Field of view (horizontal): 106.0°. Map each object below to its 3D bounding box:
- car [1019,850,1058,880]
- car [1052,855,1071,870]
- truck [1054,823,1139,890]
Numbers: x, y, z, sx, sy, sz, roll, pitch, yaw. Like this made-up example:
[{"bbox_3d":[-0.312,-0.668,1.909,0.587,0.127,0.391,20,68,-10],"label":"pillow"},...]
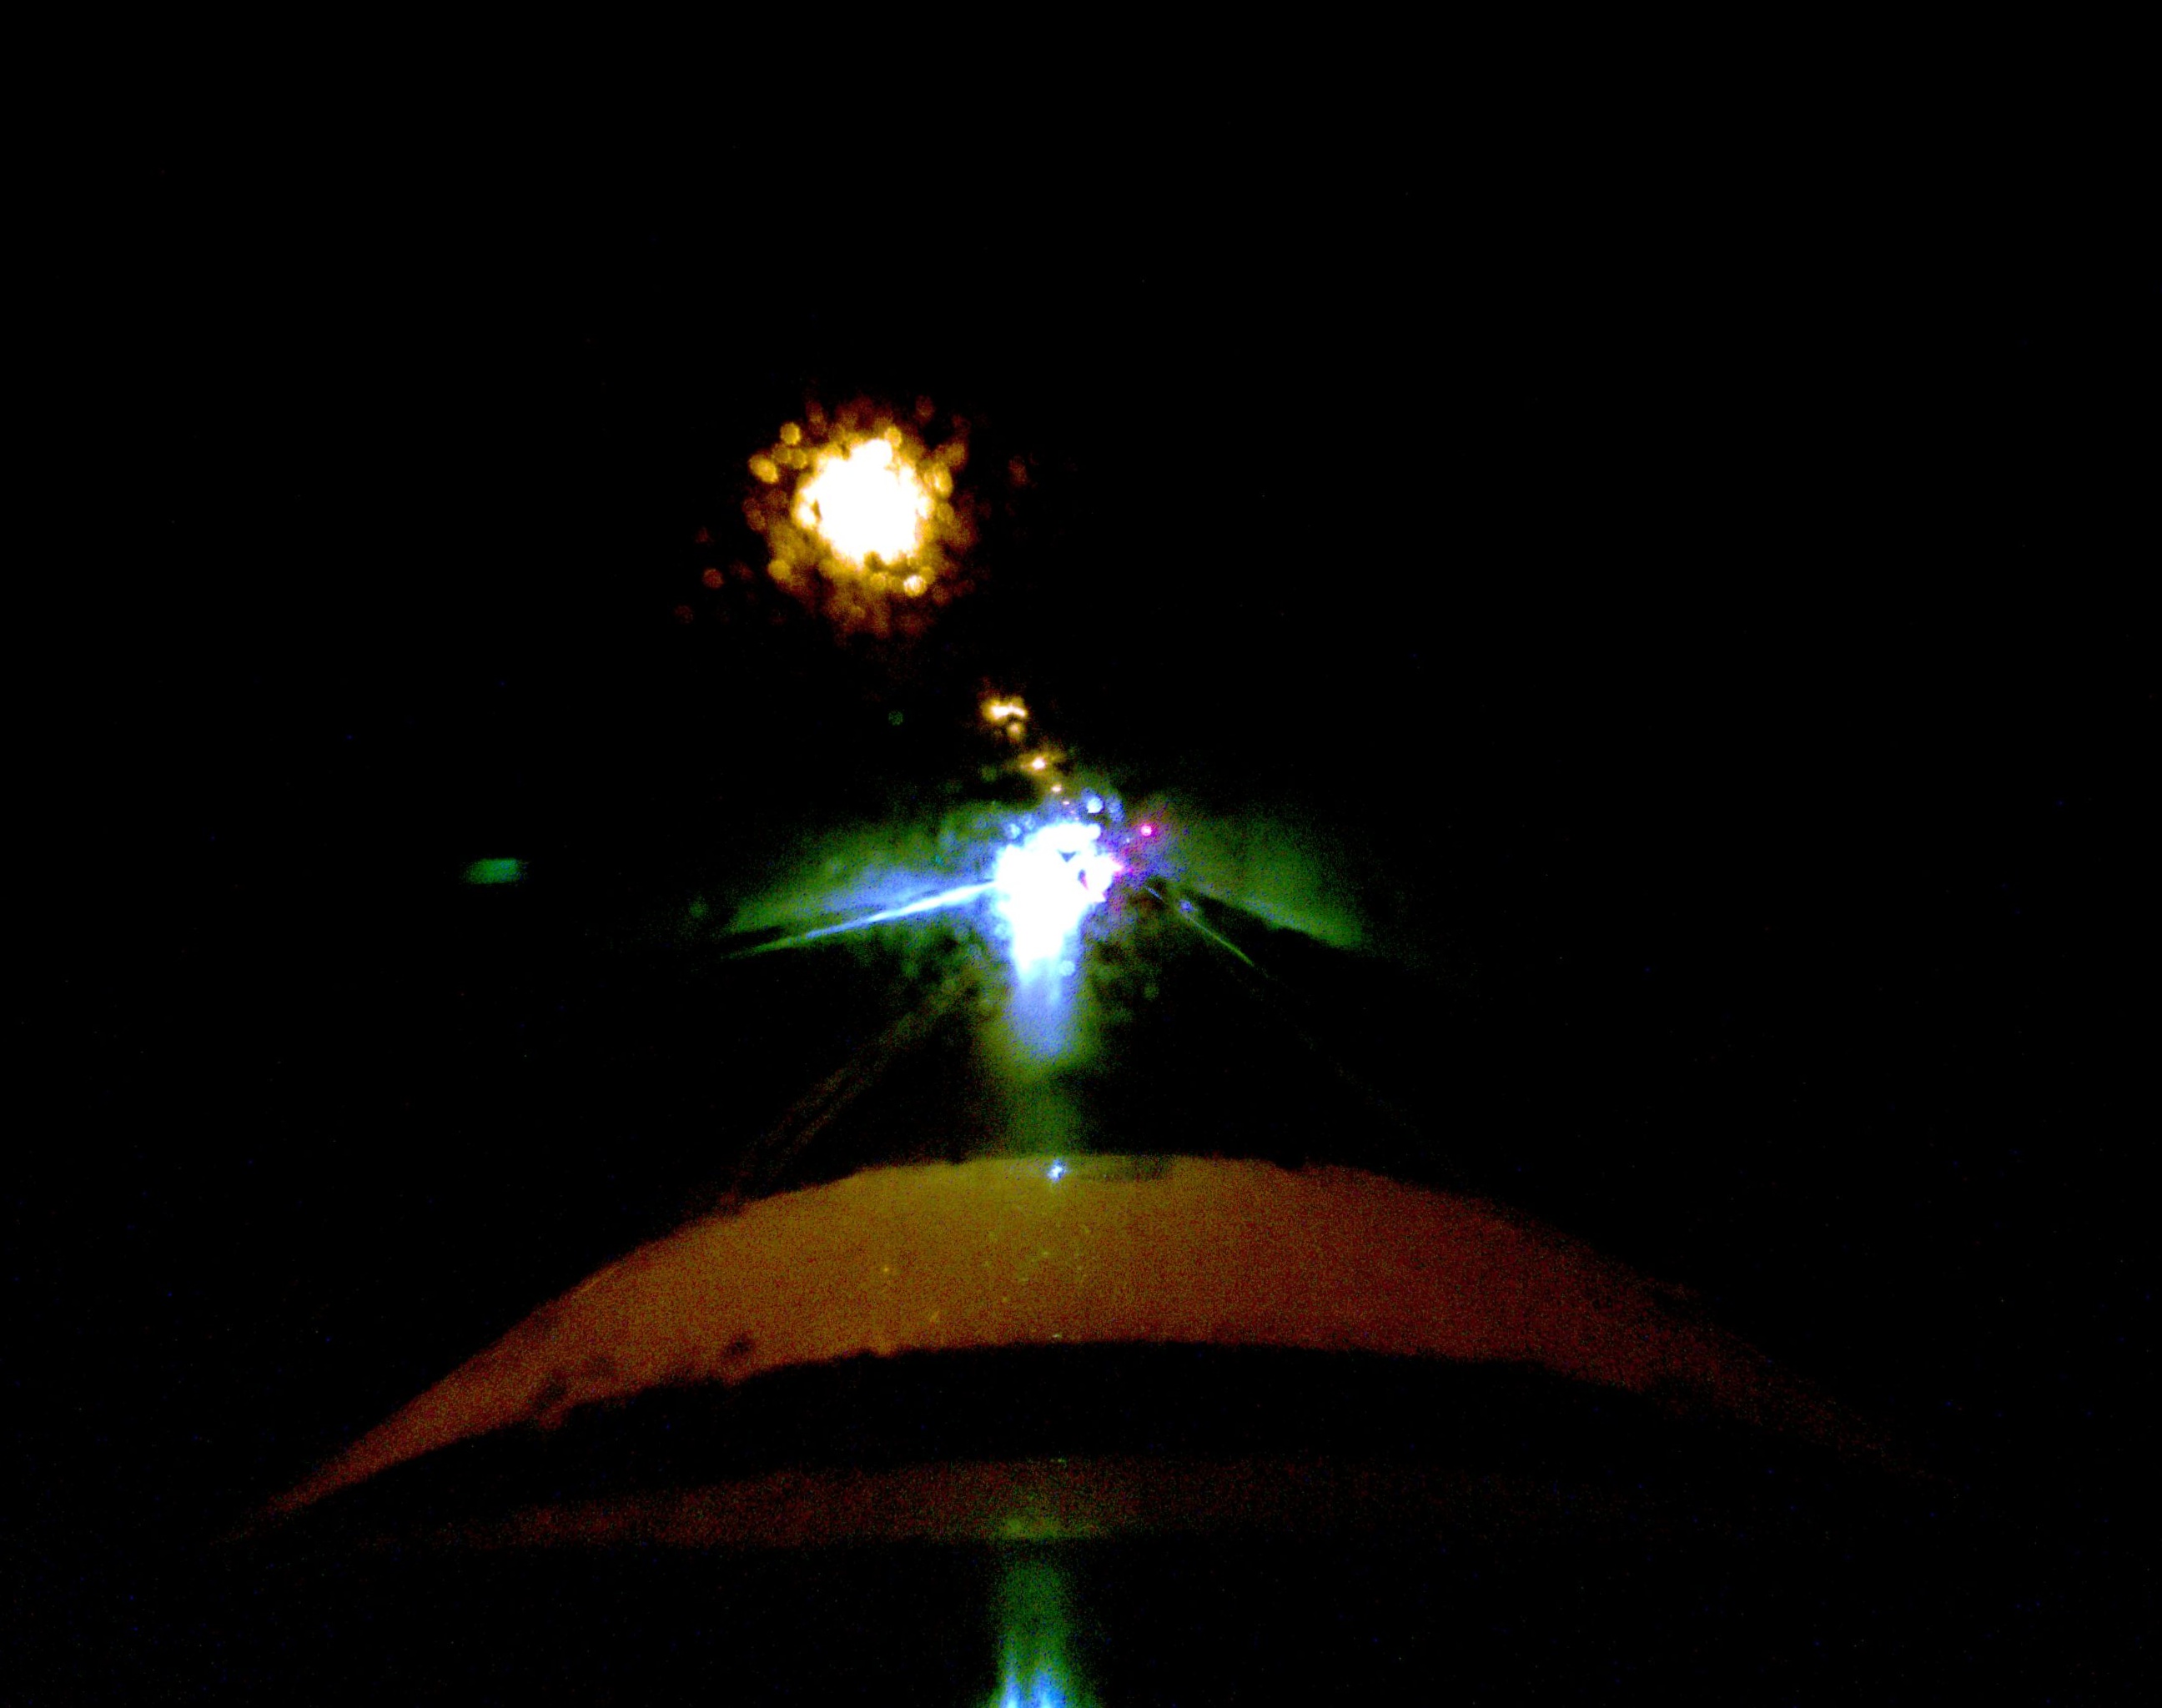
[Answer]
[{"bbox_3d":[-2.159,0.545,42.281,1.788,1.482,3.869,-1,0,0],"label":"car"},{"bbox_3d":[-2.041,0.845,85.532,1.750,1.528,3.816,1,0,1],"label":"car"},{"bbox_3d":[0.792,0.111,38.650,3.522,2.693,8.959,-2,0,2],"label":"truck"}]
